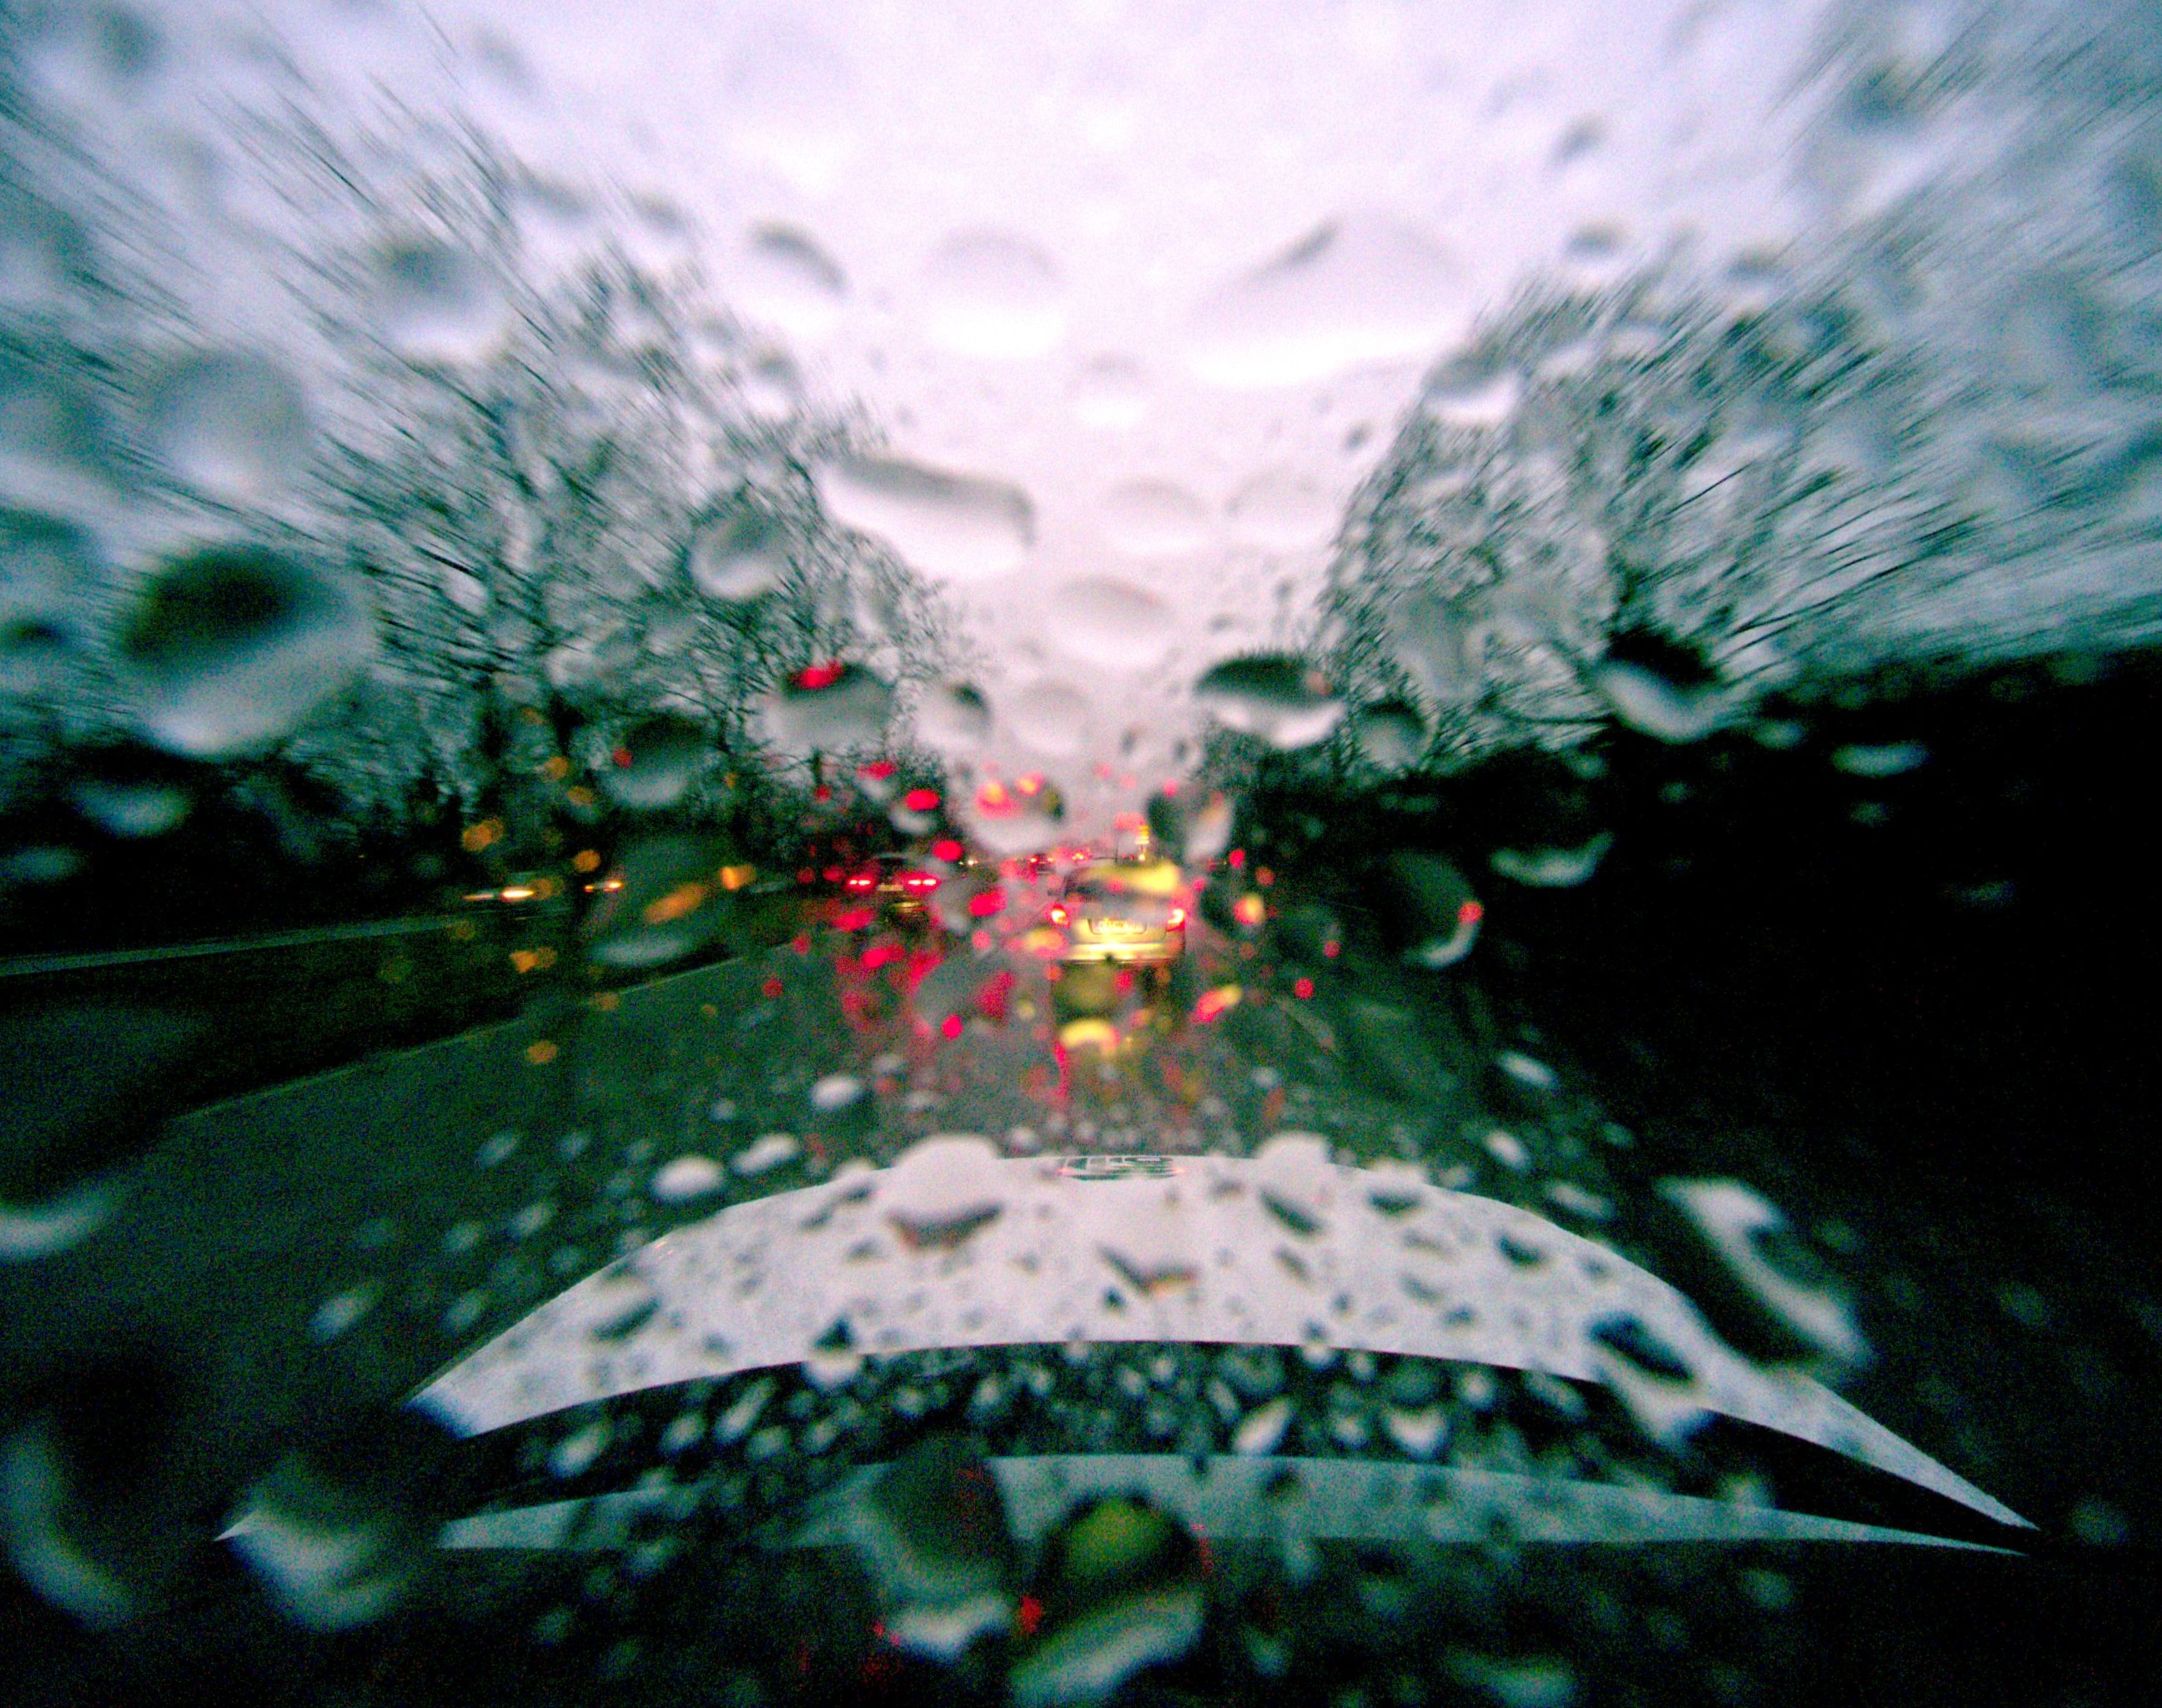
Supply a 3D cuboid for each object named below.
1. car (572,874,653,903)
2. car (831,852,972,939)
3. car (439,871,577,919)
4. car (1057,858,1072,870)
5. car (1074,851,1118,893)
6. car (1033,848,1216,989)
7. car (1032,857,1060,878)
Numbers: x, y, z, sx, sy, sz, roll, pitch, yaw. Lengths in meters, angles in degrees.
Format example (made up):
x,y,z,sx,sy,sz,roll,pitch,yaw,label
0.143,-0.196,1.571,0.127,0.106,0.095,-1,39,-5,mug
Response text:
x,y,z,sx,sy,sz,roll,pitch,yaw,label
-24.395,1.765,42.575,1.571,1.302,4.108,-2,-1,4,car
-3.618,0.777,17.264,1.987,1.601,4.308,0,0,1,car
-19.308,1.340,27.684,1.742,1.425,3.980,-2,-1,2,car
-2.172,1.374,110.808,1.782,1.483,4.002,-2,0,2,car
0.742,0.792,37.494,1.890,1.767,4.311,-1,0,2,car
0.562,0.735,11.094,1.986,1.500,4.140,-2,-1,2,car
-2.665,0.994,62.289,1.782,1.545,4.002,-1,0,2,car
